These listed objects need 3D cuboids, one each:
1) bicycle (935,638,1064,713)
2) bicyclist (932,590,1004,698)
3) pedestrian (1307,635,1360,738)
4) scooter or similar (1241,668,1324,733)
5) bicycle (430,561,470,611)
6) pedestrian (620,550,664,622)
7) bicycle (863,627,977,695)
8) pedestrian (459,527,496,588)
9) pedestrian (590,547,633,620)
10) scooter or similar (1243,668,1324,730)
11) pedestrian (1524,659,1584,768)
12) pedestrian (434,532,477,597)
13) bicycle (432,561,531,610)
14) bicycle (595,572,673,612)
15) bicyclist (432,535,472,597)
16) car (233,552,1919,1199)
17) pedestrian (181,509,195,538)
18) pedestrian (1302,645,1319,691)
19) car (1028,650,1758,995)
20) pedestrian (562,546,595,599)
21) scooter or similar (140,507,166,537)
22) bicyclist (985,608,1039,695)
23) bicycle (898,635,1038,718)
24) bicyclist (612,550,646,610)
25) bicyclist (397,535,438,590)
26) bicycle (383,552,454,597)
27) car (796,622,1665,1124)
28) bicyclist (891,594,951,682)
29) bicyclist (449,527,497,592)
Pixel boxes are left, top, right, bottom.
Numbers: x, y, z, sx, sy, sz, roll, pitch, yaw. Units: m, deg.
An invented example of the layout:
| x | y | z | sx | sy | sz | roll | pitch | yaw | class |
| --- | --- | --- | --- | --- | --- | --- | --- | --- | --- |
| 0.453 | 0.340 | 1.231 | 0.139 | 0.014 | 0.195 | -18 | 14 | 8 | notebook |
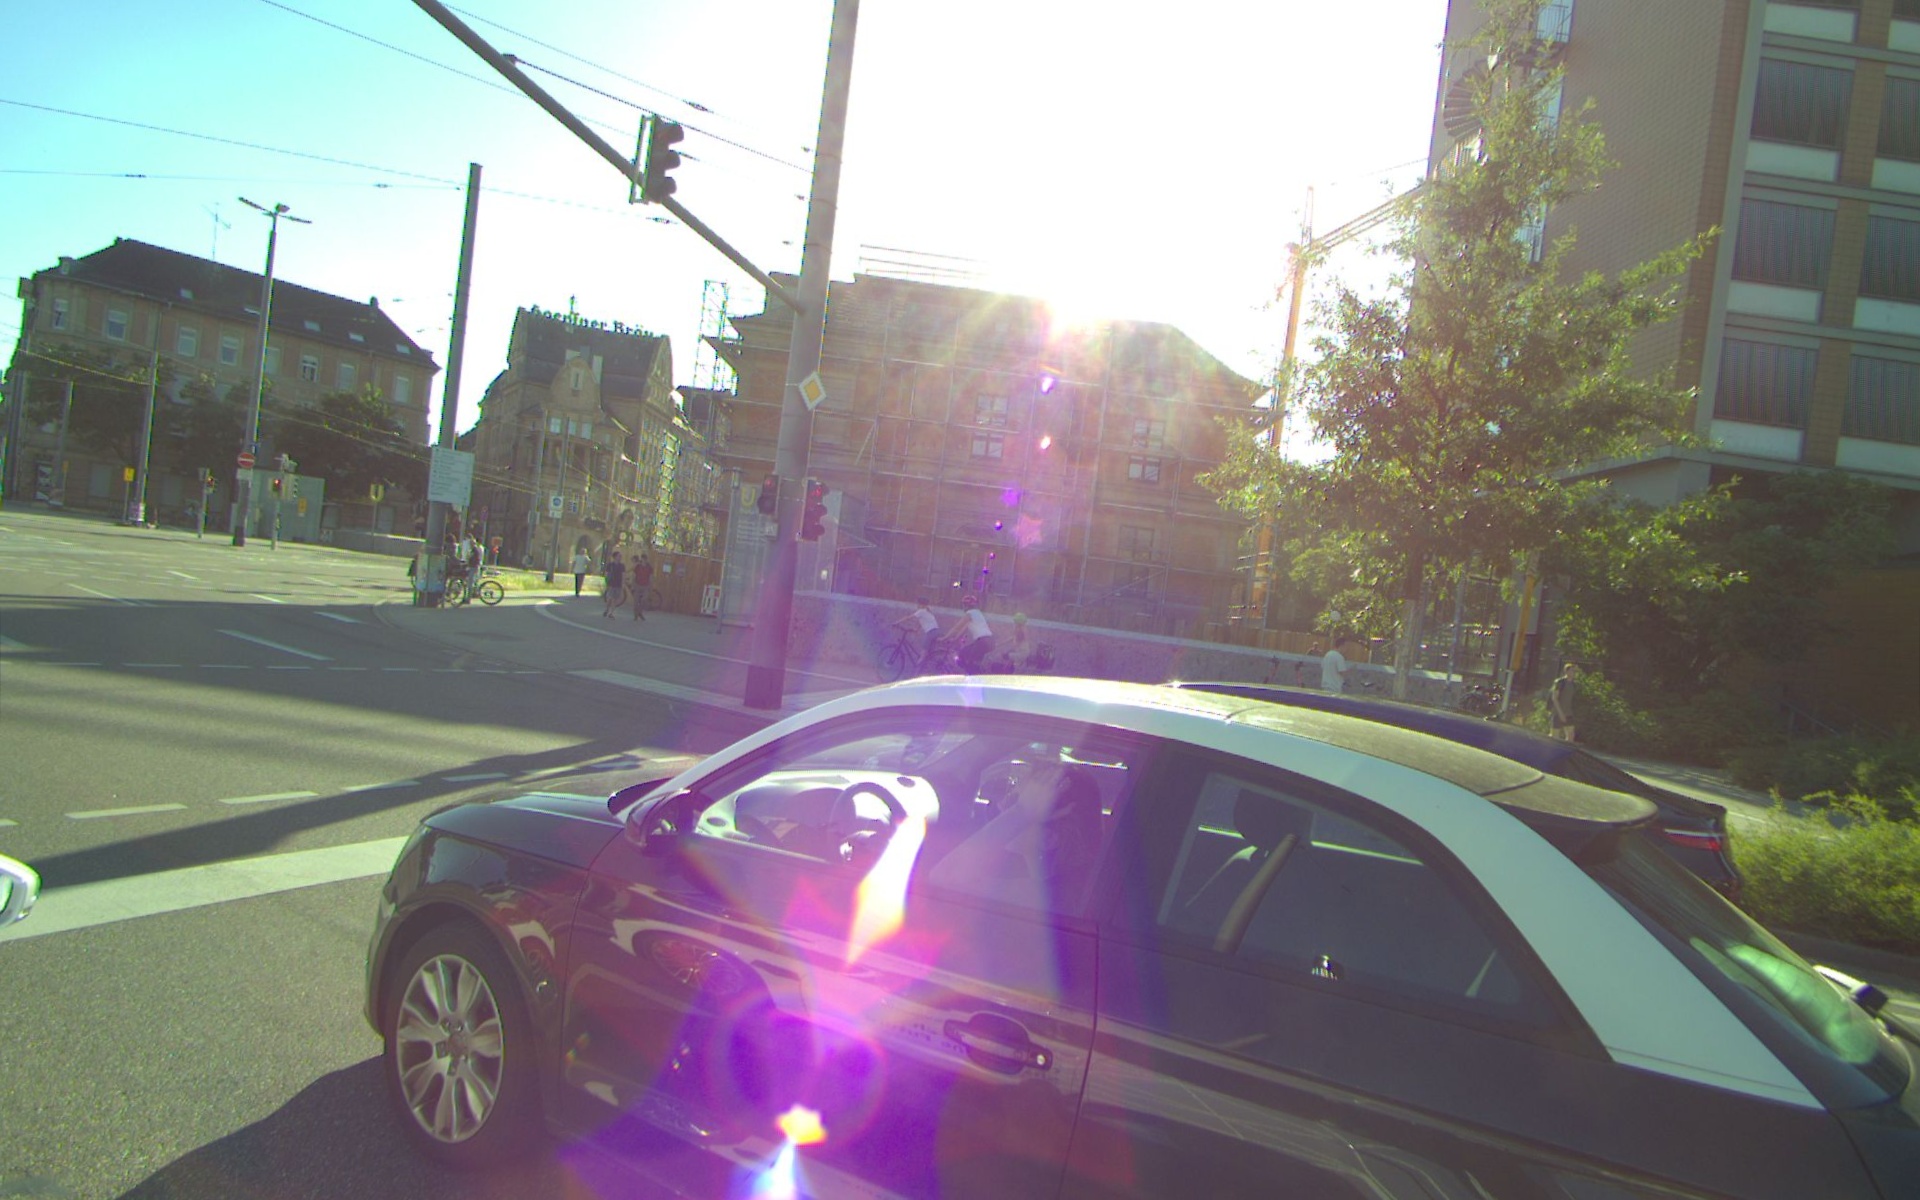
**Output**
| x | y | z | sx | sy | sz | roll | pitch | yaw | class |
| --- | --- | --- | --- | --- | --- | --- | --- | --- | --- |
| 0.636 | 1.231 | 16.578 | 1.997 | 0.976 | 0.660 | 6 | 2 | -1 | bicycle |
| 0.133 | 0.682 | 15.773 | 0.780 | 1.573 | 0.667 | 7 | 2 | 22 | bicyclist |
| 6.359 | 1.454 | 17.133 | 0.592 | 1.662 | 0.677 | 7 | 3 | 29 | pedestrian |
| 5.991 | 1.852 | 18.710 | 1.348 | 1.007 | 0.342 | 7 | -1 | 25 | scooter or similar |
| -12.719 | -0.360 | 25.063 | 0.693 | 1.061 | 2.303 | 9 | -1 | -29 | bicycle |
| -8.560 | -0.374 | 27.117 | 0.672 | 1.828 | 0.672 | 7 | -1 | 11 | pedestrian |
| -0.738 | 1.068 | 18.024 | 2.004 | 0.976 | 0.657 | 6 | 2 | 36 | bicycle |
| -16.334 | -1.424 | 34.070 | 0.678 | 1.945 | 0.649 | 7 | -1 | 25 | pedestrian |
| -9.161 | -0.436 | 26.463 | 0.672 | 1.830 | 0.672 | 7 | 2 | 11 | pedestrian |
| 6.223 | 1.894 | 19.378 | 1.346 | 1.007 | 0.343 | 7 | -1 | 13 | scooter or similar |
| 11.005 | 2.097 | 18.643 | 0.461 | 1.908 | 0.687 | 8 | -1 | -41 | pedestrian |
| -16.754 | -1.170 | 33.426 | 0.748 | 2.037 | 0.733 | 7 | -1 | 25 | pedestrian |
| -12.746 | -0.374 | 26.816 | 2.293 | 1.062 | 0.696 | 6 | -1 | -28 | bicycle |
| -10.549 | -0.257 | 32.547 | 2.289 | 1.063 | 0.532 | 5 | 2 | -25 | bicycle |
| -12.719 | -0.846 | 25.181 | 0.702 | 1.456 | 0.940 | 8 | -1 | -29 | bicyclist |
| -0.042 | 0.821 | 2.713 | 3.934 | 1.420 | 1.627 | 6 | -2 | 32 | car |
| -55.535 | -5.513 | 72.389 | 0.600 | 2.039 | 0.638 | 6 | 1 | -43 | pedestrian |
| 13.468 | 2.613 | 38.660 | 0.369 | 1.752 | 0.444 | 7 | -1 | 17 | pedestrian |
| 2.939 | 1.395 | 7.541 | 4.435 | 1.420 | 1.727 | 6 | -2 | 31 | car |
| -13.891 | -0.998 | 36.644 | 0.678 | 1.835 | 0.649 | 7 | -1 | 25 | pedestrian |
| -42.109 | -4.073 | 52.471 | 0.784 | 1.392 | 1.885 | 8 | -2 | -44 | scooter or similar |
| 0.851 | 0.840 | 16.573 | 0.661 | 1.330 | 0.617 | 7 | -1 | -3 | bicyclist |
| 0.121 | 1.168 | 15.637 | 1.998 | 0.976 | 0.659 | 7 | 3 | 24 | bicycle |
| -10.682 | -0.636 | 32.473 | 0.785 | 1.800 | 0.520 | 8 | -1 | -23 | bicyclist |
| -16.884 | -1.173 | 31.306 | 0.930 | 1.575 | 0.516 | 7 | -1 | 24 | bicyclist |
| -16.817 | -0.798 | 31.252 | 2.278 | 1.061 | 0.536 | 8 | -1 | 24 | bicycle |
| 1.227 | 1.094 | 5.382 | 3.934 | 1.420 | 1.627 | 6 | -2 | 32 | car |
| -0.702 | 0.684 | 18.033 | 0.663 | 1.471 | 0.616 | 6 | -1 | 37 | bicyclist |
| -12.922 | -1.058 | 26.674 | 0.937 | 1.575 | 0.705 | 8 | -1 | -29 | bicyclist |
